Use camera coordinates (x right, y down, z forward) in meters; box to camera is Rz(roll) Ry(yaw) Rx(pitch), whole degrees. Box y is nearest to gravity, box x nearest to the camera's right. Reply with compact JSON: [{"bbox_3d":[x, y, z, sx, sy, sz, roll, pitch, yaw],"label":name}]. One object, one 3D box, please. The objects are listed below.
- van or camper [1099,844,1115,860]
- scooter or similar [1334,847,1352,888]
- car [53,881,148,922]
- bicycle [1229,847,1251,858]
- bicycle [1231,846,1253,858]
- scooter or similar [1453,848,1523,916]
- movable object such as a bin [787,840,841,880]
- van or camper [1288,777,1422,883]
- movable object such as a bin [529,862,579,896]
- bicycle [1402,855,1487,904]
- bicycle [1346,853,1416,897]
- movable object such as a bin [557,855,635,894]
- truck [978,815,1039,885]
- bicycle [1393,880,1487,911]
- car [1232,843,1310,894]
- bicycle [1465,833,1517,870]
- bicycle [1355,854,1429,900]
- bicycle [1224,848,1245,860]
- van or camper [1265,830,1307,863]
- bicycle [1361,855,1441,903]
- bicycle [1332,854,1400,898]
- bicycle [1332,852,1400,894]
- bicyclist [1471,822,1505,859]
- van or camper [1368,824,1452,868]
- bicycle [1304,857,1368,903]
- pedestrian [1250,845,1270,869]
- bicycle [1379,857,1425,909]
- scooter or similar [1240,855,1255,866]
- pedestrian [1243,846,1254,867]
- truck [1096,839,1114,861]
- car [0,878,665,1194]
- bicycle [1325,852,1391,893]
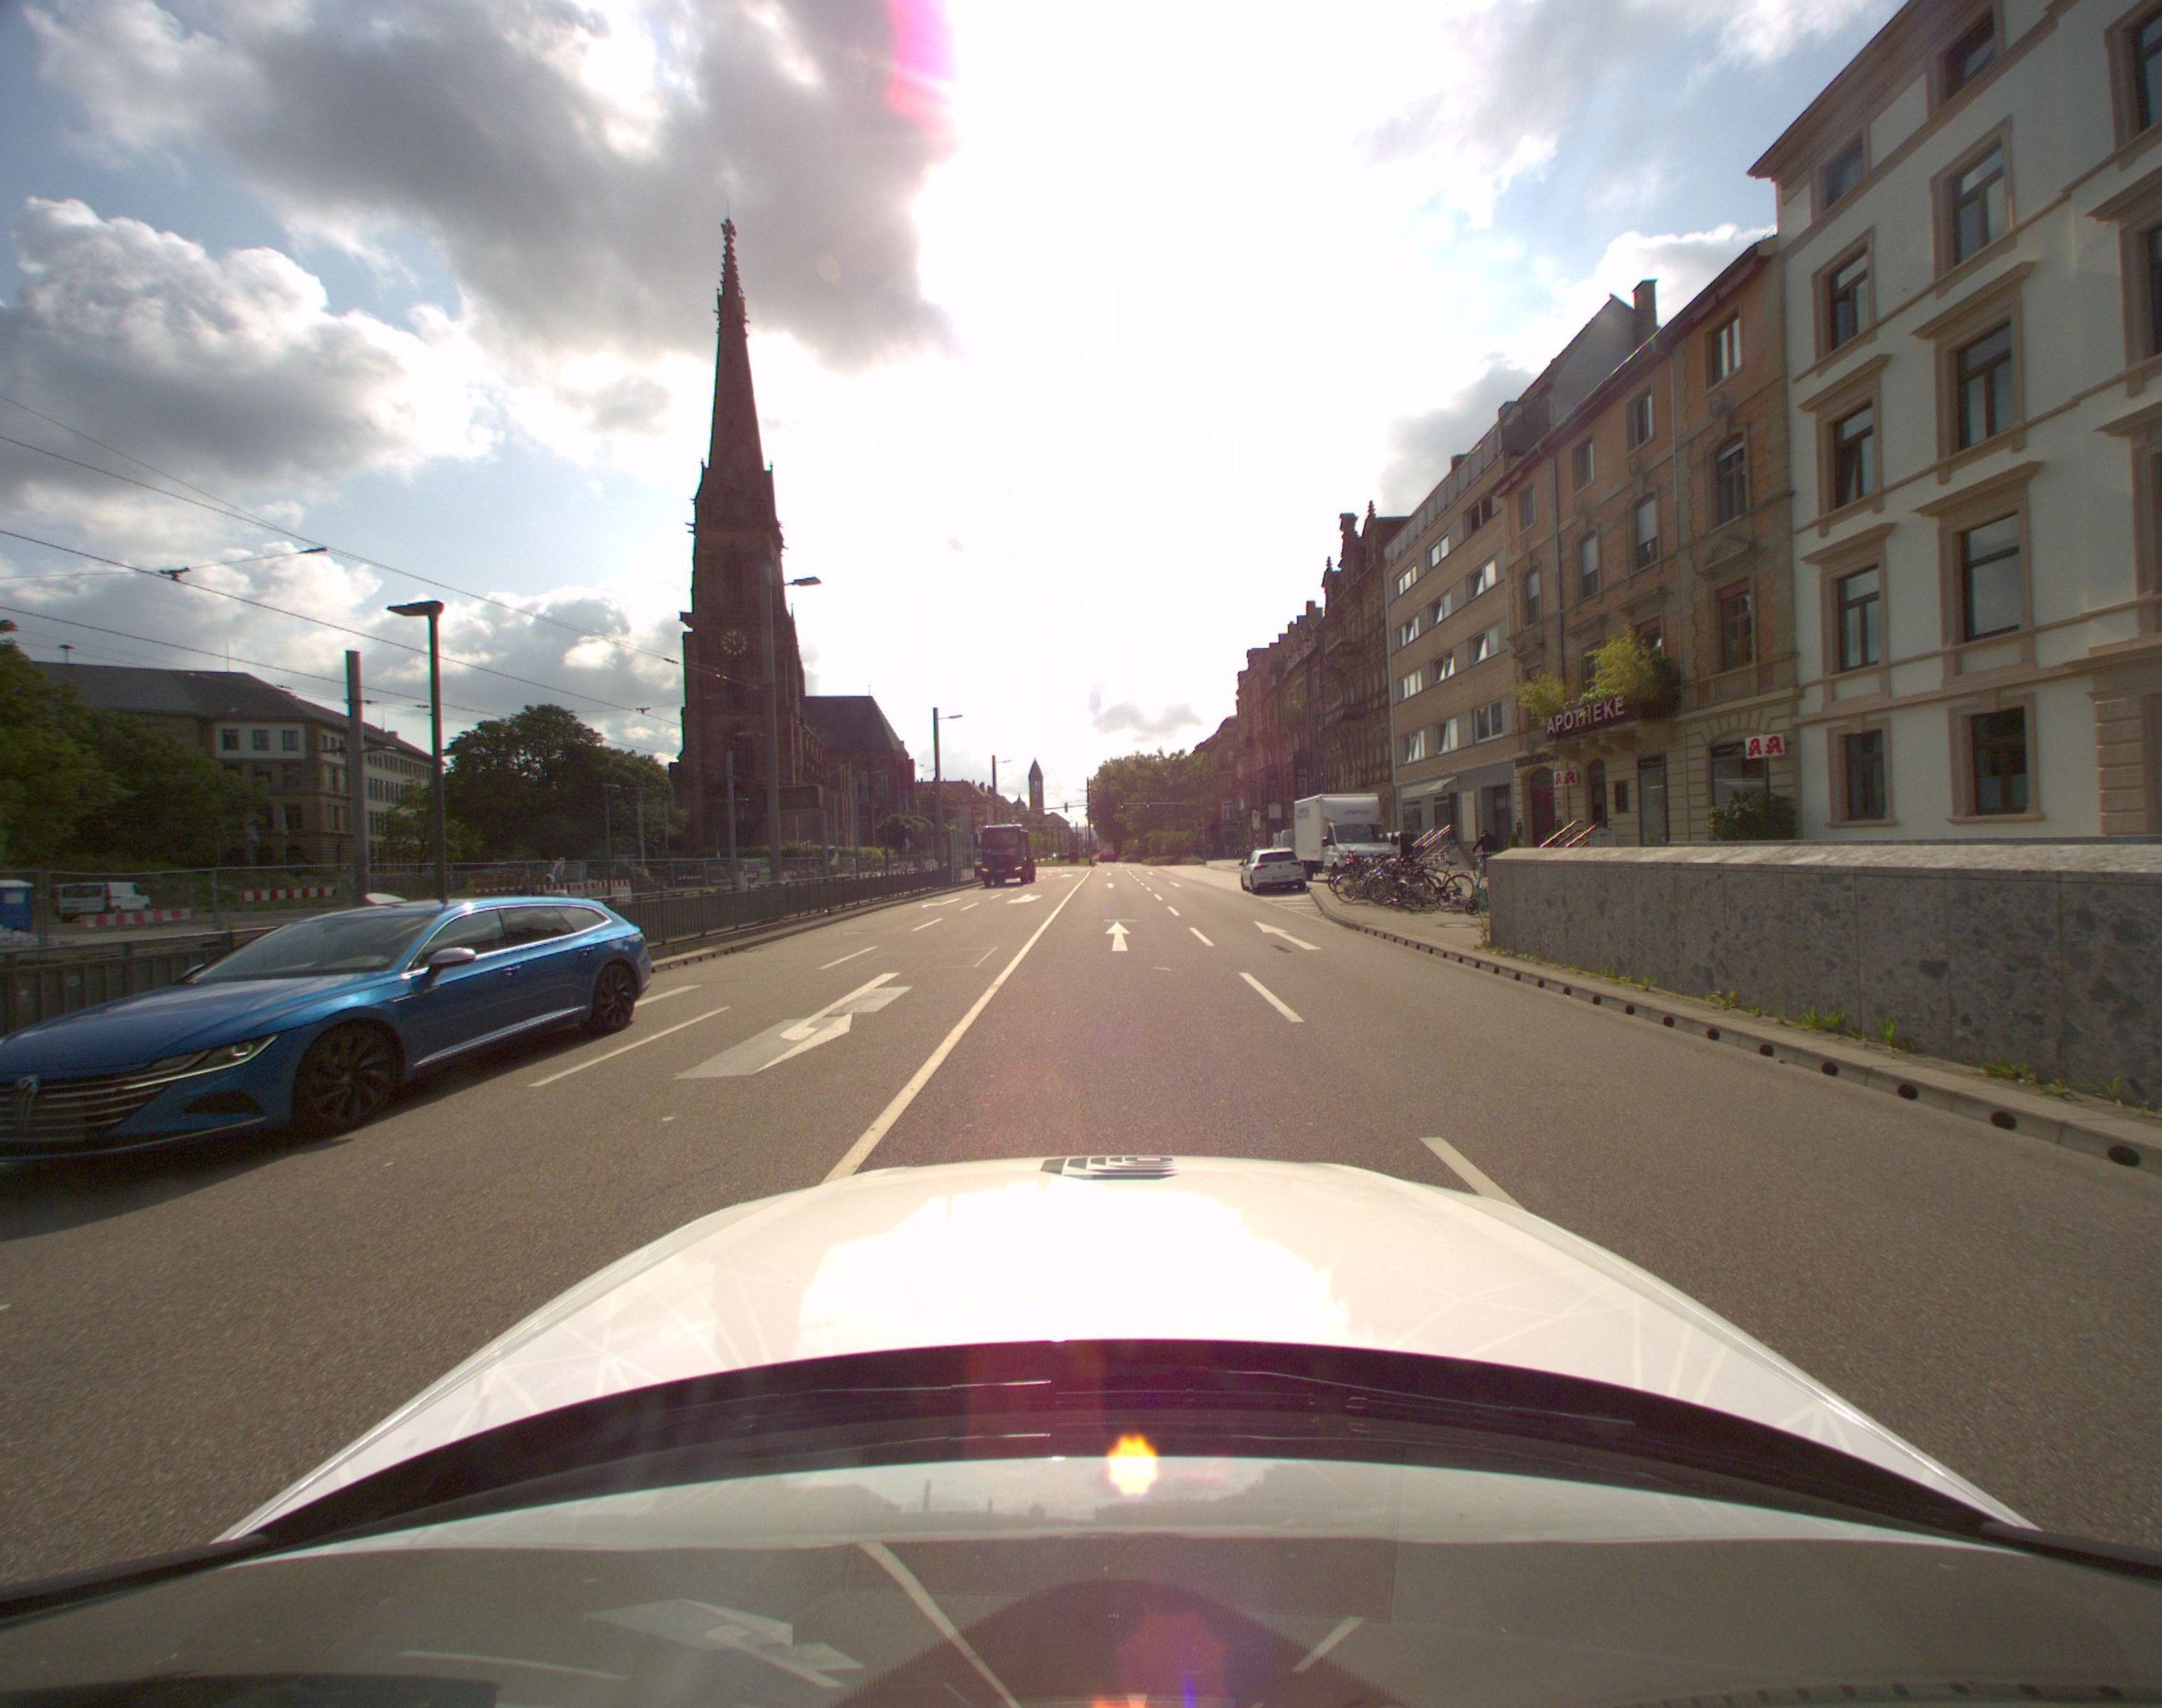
[{"bbox_3d":[3.660,-0.270,114.450,2.004,1.915,4.517,0,-4,-2],"label":"van or camper"},{"bbox_3d":[7.931,0.409,24.686,0.366,1.213,1.255,0,0,11],"label":"scooter or similar"},{"bbox_3d":[-51.876,2.546,43.197,2.007,2.014,3.959,0,-3,-31],"label":"car"},{"bbox_3d":[17.500,-0.146,89.657,2.185,1.181,0.683,-2,0,-3],"label":"bicycle"},{"bbox_3d":[17.546,-0.200,88.892,2.185,1.181,0.683,-2,0,-3],"label":"bicycle"},{"bbox_3d":[7.922,0.536,15.861,1.162,1.238,0.381,-3,0,-10],"label":"scooter or similar"},{"bbox_3d":[-26.155,0.591,80.115,2.650,3.730,5.608,-2,0,9],"label":"movable object such as a bin"},{"bbox_3d":[9.908,-0.743,30.420,2.701,3.331,7.645,-3,-1,3],"label":"van or camper"},{"bbox_3d":[-37.501,1.733,58.090,2.000,2.206,4.244,-2,0,-19],"label":"movable object such as a bin"},{"bbox_3d":[8.364,0.580,18.747,1.750,1.085,0.373,-1,1,3],"label":"bicycle"},{"bbox_3d":[7.827,0.543,21.264,1.759,1.085,0.371,-2,1,-11],"label":"bicycle"},{"bbox_3d":[-38.425,1.604,64.605,4.885,2.802,2.001,-2,0,2],"label":"movable object such as a bin"},{"bbox_3d":[-4.099,-0.222,47.538,2.453,3.648,7.453,-2,0,2],"label":"truck"},{"bbox_3d":[7.742,0.892,17.626,0.641,0.586,1.750,-2,-1,-38],"label":"bicycle"},{"bbox_3d":[6.458,0.501,28.087,1.783,1.437,4.347,-6,-1,3],"label":"car"},{"bbox_3d":[13.446,-0.052,26.790,0.701,1.048,2.210,-1,-4,4],"label":"bicycle"},{"bbox_3d":[7.810,0.566,20.472,1.757,1.085,0.371,-2,1,-8],"label":"bicycle"},{"bbox_3d":[17.315,0.003,91.751,2.185,1.181,0.683,-2,0,-3],"label":"bicycle"},{"bbox_3d":[16.271,-0.598,64.979,1.986,2.474,5.568,-2,0,2],"label":"van or camper"},{"bbox_3d":[7.619,0.588,19.418,1.750,1.085,0.373,-1,1,3],"label":"bicycle"},{"bbox_3d":[7.576,0.572,21.654,1.759,1.085,0.371,-2,1,-11],"label":"bicycle"},{"bbox_3d":[7.866,0.526,22.508,1.755,1.085,0.372,-2,1,-5],"label":"bicycle"},{"bbox_3d":[13.450,-0.453,26.932,0.705,1.148,0.814,-1,-4,4],"label":"bicyclist"},{"bbox_3d":[16.121,-0.365,40.271,1.986,1.905,5.300,-5,0,1],"label":"van or camper"},{"bbox_3d":[6.432,0.635,20.513,1.600,1.085,0.370,-2,1,-18],"label":"bicycle"},{"bbox_3d":[10.289,0.181,46.804,0.748,1.316,0.812,0,-1,-37],"label":"pedestrian"},{"bbox_3d":[7.200,0.620,18.315,0.370,1.071,1.765,-1,1,1],"label":"bicycle"},{"bbox_3d":[17.537,0.662,85.767,1.558,1.097,0.452,-2,-1,5],"label":"scooter or similar"},{"bbox_3d":[16.268,0.209,78.913,0.882,2.014,0.996,0,-1,2],"label":"pedestrian"},{"bbox_3d":[4.314,-0.711,145.837,3.158,3.287,7.296,-1,-5,1],"label":"truck"},{"bbox_3d":[-5.588,1.068,6.636,1.843,1.455,4.557,-4,0,2],"label":"car"},{"bbox_3d":[7.839,0.524,23.065,1.755,1.085,0.372,-2,1,-5],"label":"bicycle"}]
